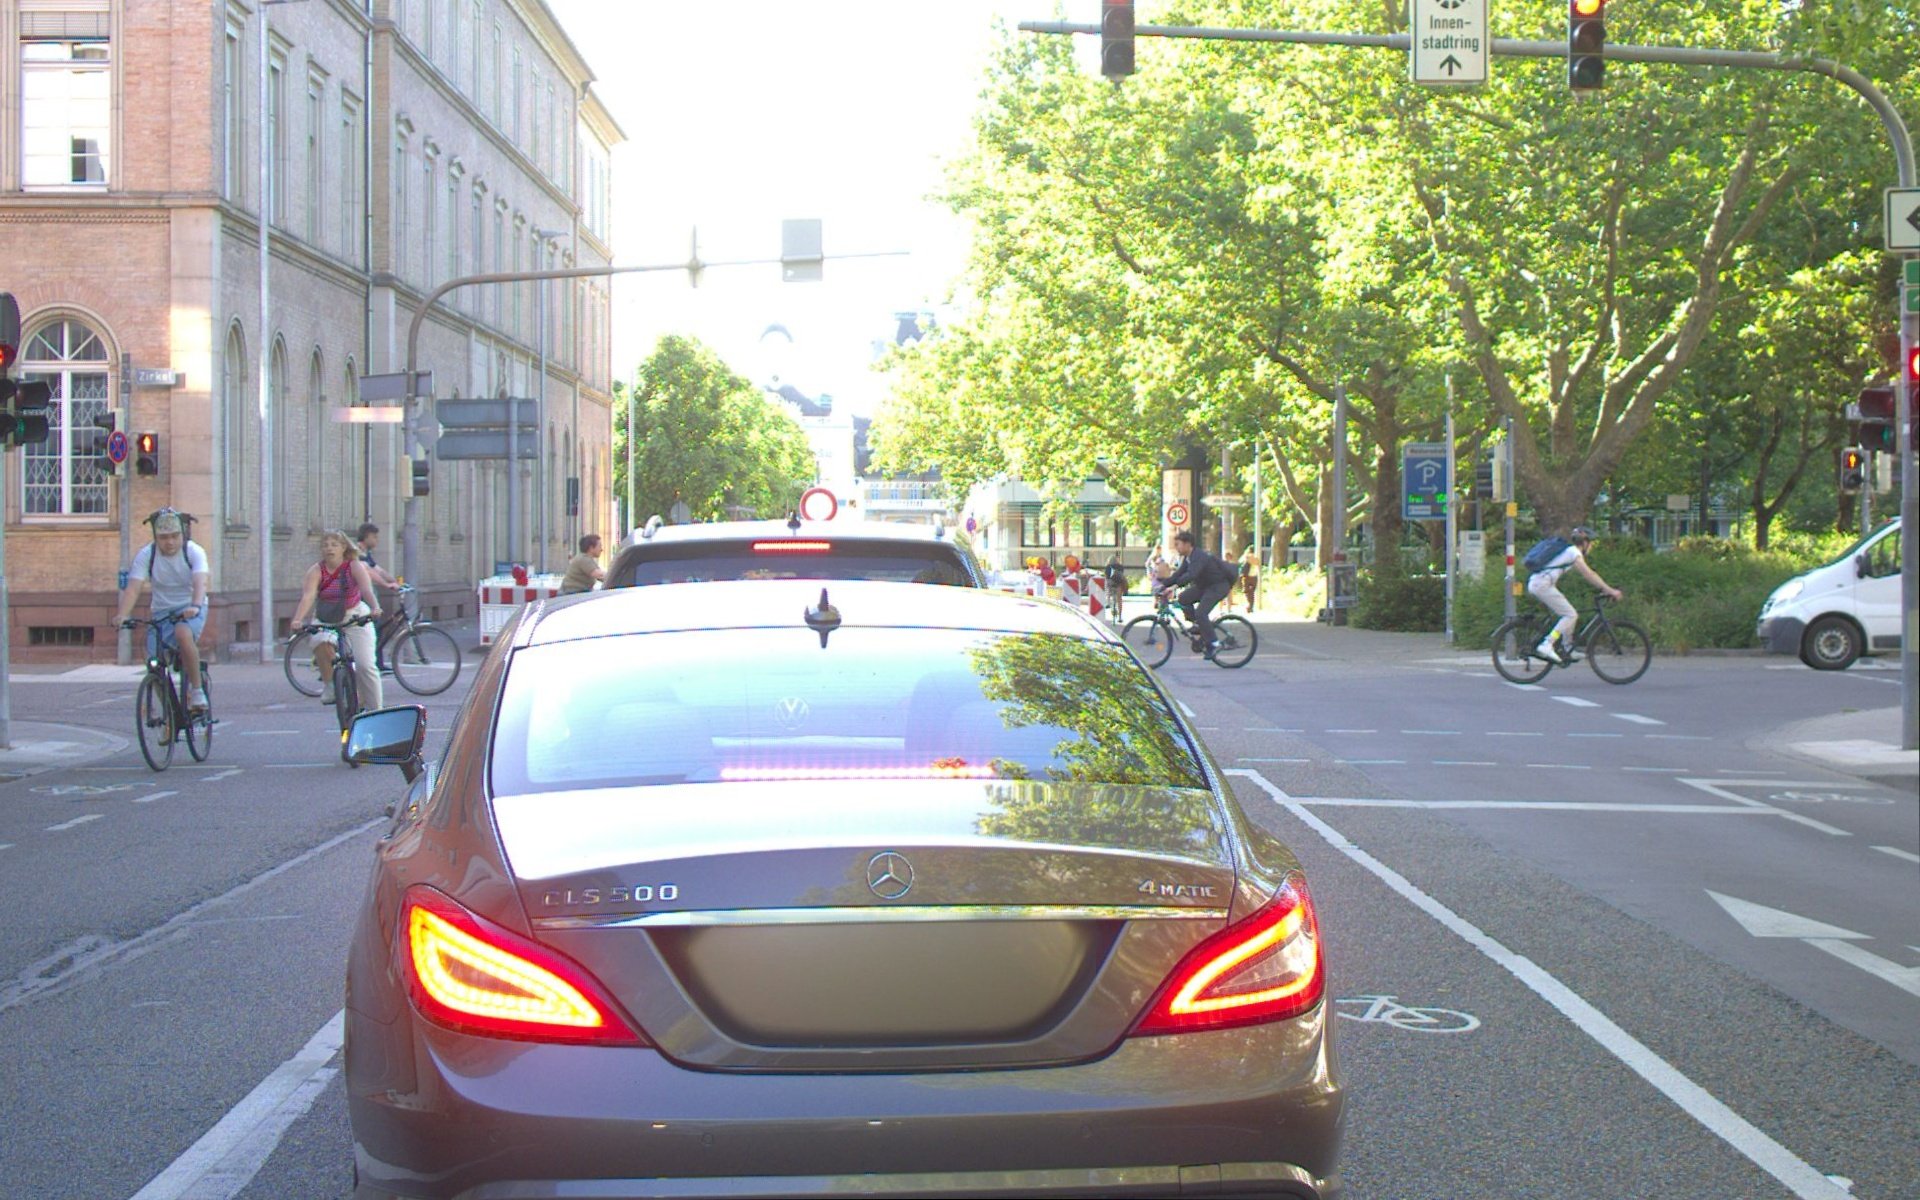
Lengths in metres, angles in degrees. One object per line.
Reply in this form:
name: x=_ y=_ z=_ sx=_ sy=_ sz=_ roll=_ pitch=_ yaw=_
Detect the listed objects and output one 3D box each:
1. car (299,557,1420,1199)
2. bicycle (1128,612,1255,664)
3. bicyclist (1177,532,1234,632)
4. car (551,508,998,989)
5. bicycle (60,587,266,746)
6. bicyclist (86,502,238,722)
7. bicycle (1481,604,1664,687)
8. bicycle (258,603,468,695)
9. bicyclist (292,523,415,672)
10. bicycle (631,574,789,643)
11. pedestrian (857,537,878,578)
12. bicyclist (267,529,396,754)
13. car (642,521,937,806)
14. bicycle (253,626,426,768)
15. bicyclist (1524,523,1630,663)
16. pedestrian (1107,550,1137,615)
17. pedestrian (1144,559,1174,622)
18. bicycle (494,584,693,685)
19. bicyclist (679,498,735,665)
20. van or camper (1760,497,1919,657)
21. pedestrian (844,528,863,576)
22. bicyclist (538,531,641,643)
car: x=-0.434 y=0.648 z=7.677 sx=1.803 sy=1.451 sz=4.352 roll=0 pitch=1 yaw=-8
bicycle: x=2.908 y=0.476 z=43.272 sx=1.587 sy=0.632 sz=0.496 roll=0 pitch=1 yaw=3
bicyclist: x=3.095 y=-0.231 z=43.423 sx=0.704 sy=1.256 sz=0.457 roll=0 pitch=1 yaw=3
car: x=-0.725 y=0.479 z=13.742 sx=1.517 sy=1.641 sz=3.881 roll=1 pitch=1 yaw=-3
bicycle: x=-5.723 y=0.458 z=24.792 sx=0.863 sy=1.075 sz=1.836 roll=0 pitch=1 yaw=7
bicyclist: x=-5.739 y=0.075 z=24.751 sx=0.842 sy=1.549 sz=0.839 roll=0 pitch=1 yaw=5
bicycle: x=6.685 y=0.494 z=37.580 sx=1.893 sy=0.879 sz=0.725 roll=0 pitch=1 yaw=4
bicycle: x=-6.013 y=0.490 z=34.685 sx=1.986 sy=0.900 sz=0.734 roll=0 pitch=1 yaw=0
bicyclist: x=-6.110 y=-0.034 z=34.659 sx=1.116 sy=1.485 sz=0.712 roll=0 pitch=1 yaw=-1
bicycle: x=-3.029 y=0.101 z=41.617 sx=1.891 sy=0.834 sz=0.458 roll=0 pitch=1 yaw=-8
pedestrian: x=-3.499 y=-1.607 z=130.027 sx=0.801 sy=1.571 sz=0.845 roll=0 pitch=1 yaw=-1
bicyclist: x=-4.490 y=0.283 z=24.612 sx=0.685 sy=1.572 sz=0.982 roll=0 pitch=1 yaw=4
car: x=-1.078 y=0.360 z=23.254 sx=1.820 sy=1.756 sz=4.000 roll=0 pitch=1 yaw=-1
bicycle: x=-4.444 y=0.679 z=24.747 sx=0.693 sy=0.926 sz=1.863 roll=0 pitch=1 yaw=7
bicyclist: x=6.738 y=-0.086 z=37.569 sx=1.075 sy=1.514 sz=0.716 roll=0 pitch=1 yaw=5
pedestrian: x=3.774 y=-0.409 z=80.082 sx=0.648 sy=1.498 sz=0.637 roll=0 pitch=1 yaw=-1
pedestrian: x=4.616 y=-0.223 z=79.628 sx=0.648 sy=1.428 sz=0.659 roll=0 pitch=1 yaw=-1
bicycle: x=-3.806 y=0.358 z=35.758 sx=1.980 sy=1.024 sz=0.651 roll=0 pitch=1 yaw=2
bicyclist: x=-3.062 y=-0.227 z=41.610 sx=0.652 sy=2.007 sz=0.440 roll=0 pitch=1 yaw=-8
van or camper: x=12.333 y=-0.287 z=42.550 sx=4.580 sy=1.935 sz=1.999 roll=0 pitch=1 yaw=8
pedestrian: x=-4.217 y=-1.888 z=136.455 sx=0.721 sy=1.895 sz=0.704 roll=0 pitch=1 yaw=-1
bicyclist: x=-3.847 y=-0.141 z=35.744 sx=0.991 sy=1.150 sz=0.620 roll=0 pitch=1 yaw=2
